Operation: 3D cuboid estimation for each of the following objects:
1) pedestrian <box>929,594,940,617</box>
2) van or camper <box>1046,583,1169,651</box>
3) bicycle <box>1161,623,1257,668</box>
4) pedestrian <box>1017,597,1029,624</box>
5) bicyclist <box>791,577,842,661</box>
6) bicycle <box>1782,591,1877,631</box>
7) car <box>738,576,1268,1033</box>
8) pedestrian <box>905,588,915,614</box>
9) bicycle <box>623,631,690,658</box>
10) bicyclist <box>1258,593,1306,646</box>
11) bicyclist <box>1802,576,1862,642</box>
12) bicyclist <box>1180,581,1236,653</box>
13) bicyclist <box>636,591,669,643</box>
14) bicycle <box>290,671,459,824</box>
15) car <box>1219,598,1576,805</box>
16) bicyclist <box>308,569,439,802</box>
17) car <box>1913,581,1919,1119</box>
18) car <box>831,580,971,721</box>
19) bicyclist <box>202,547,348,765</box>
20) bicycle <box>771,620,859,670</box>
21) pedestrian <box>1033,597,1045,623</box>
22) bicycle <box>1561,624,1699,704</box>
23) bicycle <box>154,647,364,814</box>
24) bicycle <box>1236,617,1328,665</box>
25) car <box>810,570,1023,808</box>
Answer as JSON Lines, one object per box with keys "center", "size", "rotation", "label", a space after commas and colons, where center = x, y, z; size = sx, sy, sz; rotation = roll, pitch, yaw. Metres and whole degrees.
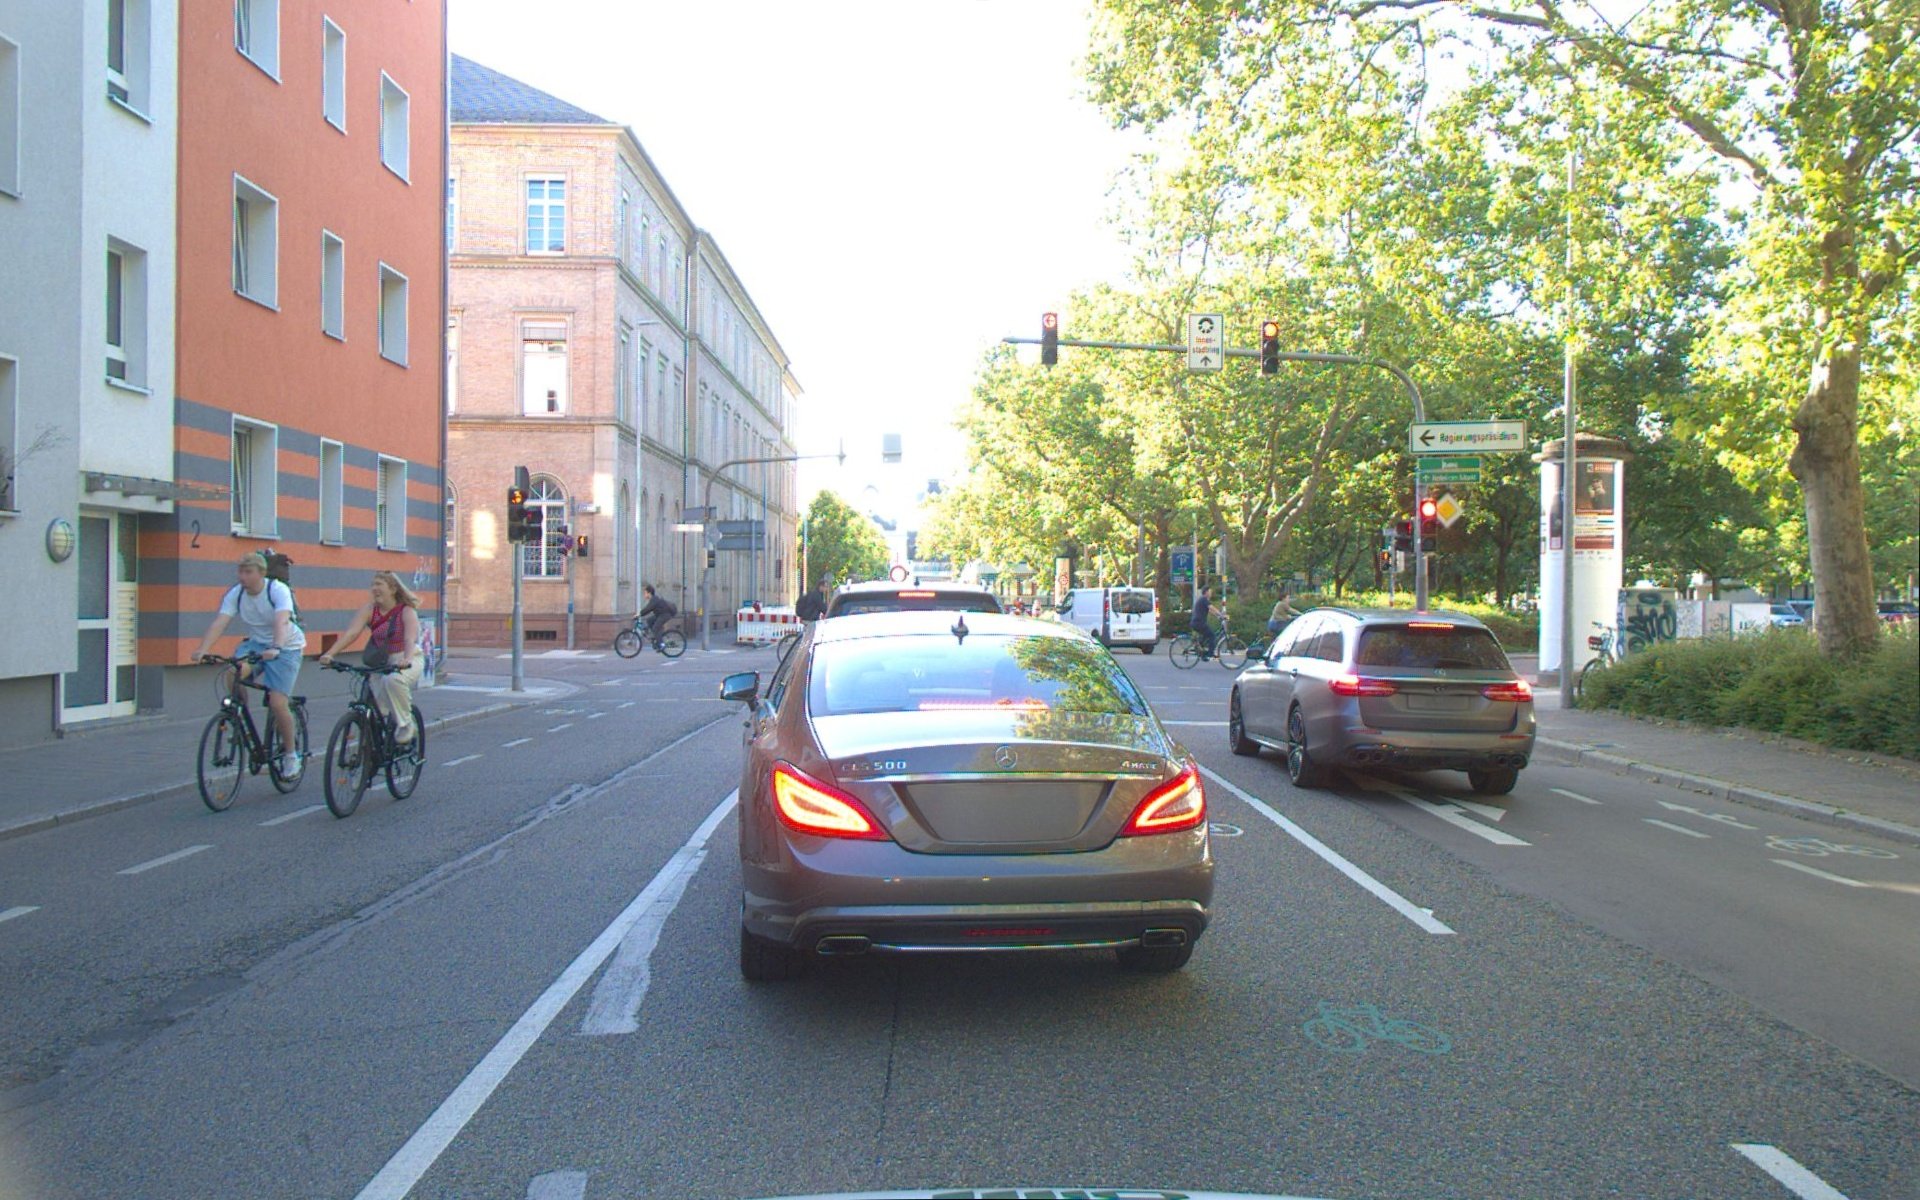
{"center": [-1.804, 0.402, 117.279], "size": [0.785, 1.604, 0.844], "rotation": [1, 0, -1], "label": "pedestrian"}
{"center": [4.429, 0.491, 50.381], "size": [1.965, 1.975, 4.566], "rotation": [1, 0, -21], "label": "van or camper"}
{"center": [5.357, 0.976, 35.619], "size": [1.946, 0.919, 0.733], "rotation": [0, 0, -2], "label": "bicycle"}
{"center": [3.525, 0.580, 93.035], "size": [0.635, 1.529, 0.637], "rotation": [0, 0, -1], "label": "pedestrian"}
{"center": [-2.910, 0.380, 33.469], "size": [0.995, 1.671, 0.607], "rotation": [1, 0, -7], "label": "bicyclist"}
{"center": [20.418, 0.249, 38.861], "size": [1.853, 0.898, 0.726], "rotation": [1, 0, 3], "label": "bicycle"}
{"center": [-0.125, 0.667, 7.659], "size": [1.769, 1.482, 4.343], "rotation": [1, 0, -8], "label": "car"}
{"center": [-3.754, 0.079, 123.775], "size": [0.706, 1.935, 0.704], "rotation": [1, 0, -1], "label": "pedestrian"}
{"center": [-7.525, 1.100, 41.023], "size": [1.554, 0.646, 0.496], "rotation": [0, 0, 3], "label": "bicycle"}
{"center": [7.215, 0.423, 37.080], "size": [0.971, 1.174, 0.620], "rotation": [0, 0, 1], "label": "bicyclist"}
{"center": [20.487, 0.208, 38.856], "size": [1.052, 1.546, 0.717], "rotation": [0, 0, 4], "label": "bicyclist"}
{"center": [5.335, 0.365, 35.609], "size": [1.094, 1.516, 0.711], "rotation": [0, 0, -1], "label": "bicyclist"}
{"center": [-7.626, 0.427, 41.022], "size": [0.689, 1.282, 0.458], "rotation": [0, 0, 3], "label": "bicyclist"}
{"center": [-4.224, 1.033, 12.069], "size": [0.680, 0.945, 1.862], "rotation": [0, 0, -4], "label": "bicycle"}
{"center": [3.693, 0.773, 14.903], "size": [1.874, 1.490, 4.668], "rotation": [2, 0, -1], "label": "car"}
{"center": [-4.198, 0.587, 11.898], "size": [0.672, 1.605, 0.980], "rotation": [0, 0, -7], "label": "bicyclist"}
{"center": [3.720, 0.775, 3.121], "size": [1.666, 1.631, 3.860], "rotation": [1, 0, 1], "label": "car"}
{"center": [-0.781, 0.642, 23.239], "size": [1.783, 1.793, 3.999], "rotation": [0, 0, -1], "label": "car"}
{"center": [-5.141, 0.406, 12.465], "size": [0.826, 1.582, 0.838], "rotation": [0, 0, -9], "label": "bicyclist"}
{"center": [-2.938, 0.905, 33.456], "size": [1.760, 0.963, 0.613], "rotation": [1, 0, -7], "label": "bicycle"}
{"center": [4.419, 0.551, 92.758], "size": [0.635, 1.458, 0.659], "rotation": [0, 0, -1], "label": "pedestrian"}
{"center": [9.610, 0.911, 23.756], "size": [1.766, 1.116, 0.510], "rotation": [0, 0, 2], "label": "bicycle"}
{"center": [-5.222, 0.937, 12.462], "size": [0.845, 1.097, 1.835], "rotation": [1, 0, -3], "label": "bicycle"}
{"center": [7.205, 0.908, 37.077], "size": [1.940, 1.045, 0.651], "rotation": [0, 0, 0], "label": "bicycle"}
{"center": [-0.401, 0.629, 13.685], "size": [1.487, 1.675, 3.878], "rotation": [1, 0, -3], "label": "car"}
